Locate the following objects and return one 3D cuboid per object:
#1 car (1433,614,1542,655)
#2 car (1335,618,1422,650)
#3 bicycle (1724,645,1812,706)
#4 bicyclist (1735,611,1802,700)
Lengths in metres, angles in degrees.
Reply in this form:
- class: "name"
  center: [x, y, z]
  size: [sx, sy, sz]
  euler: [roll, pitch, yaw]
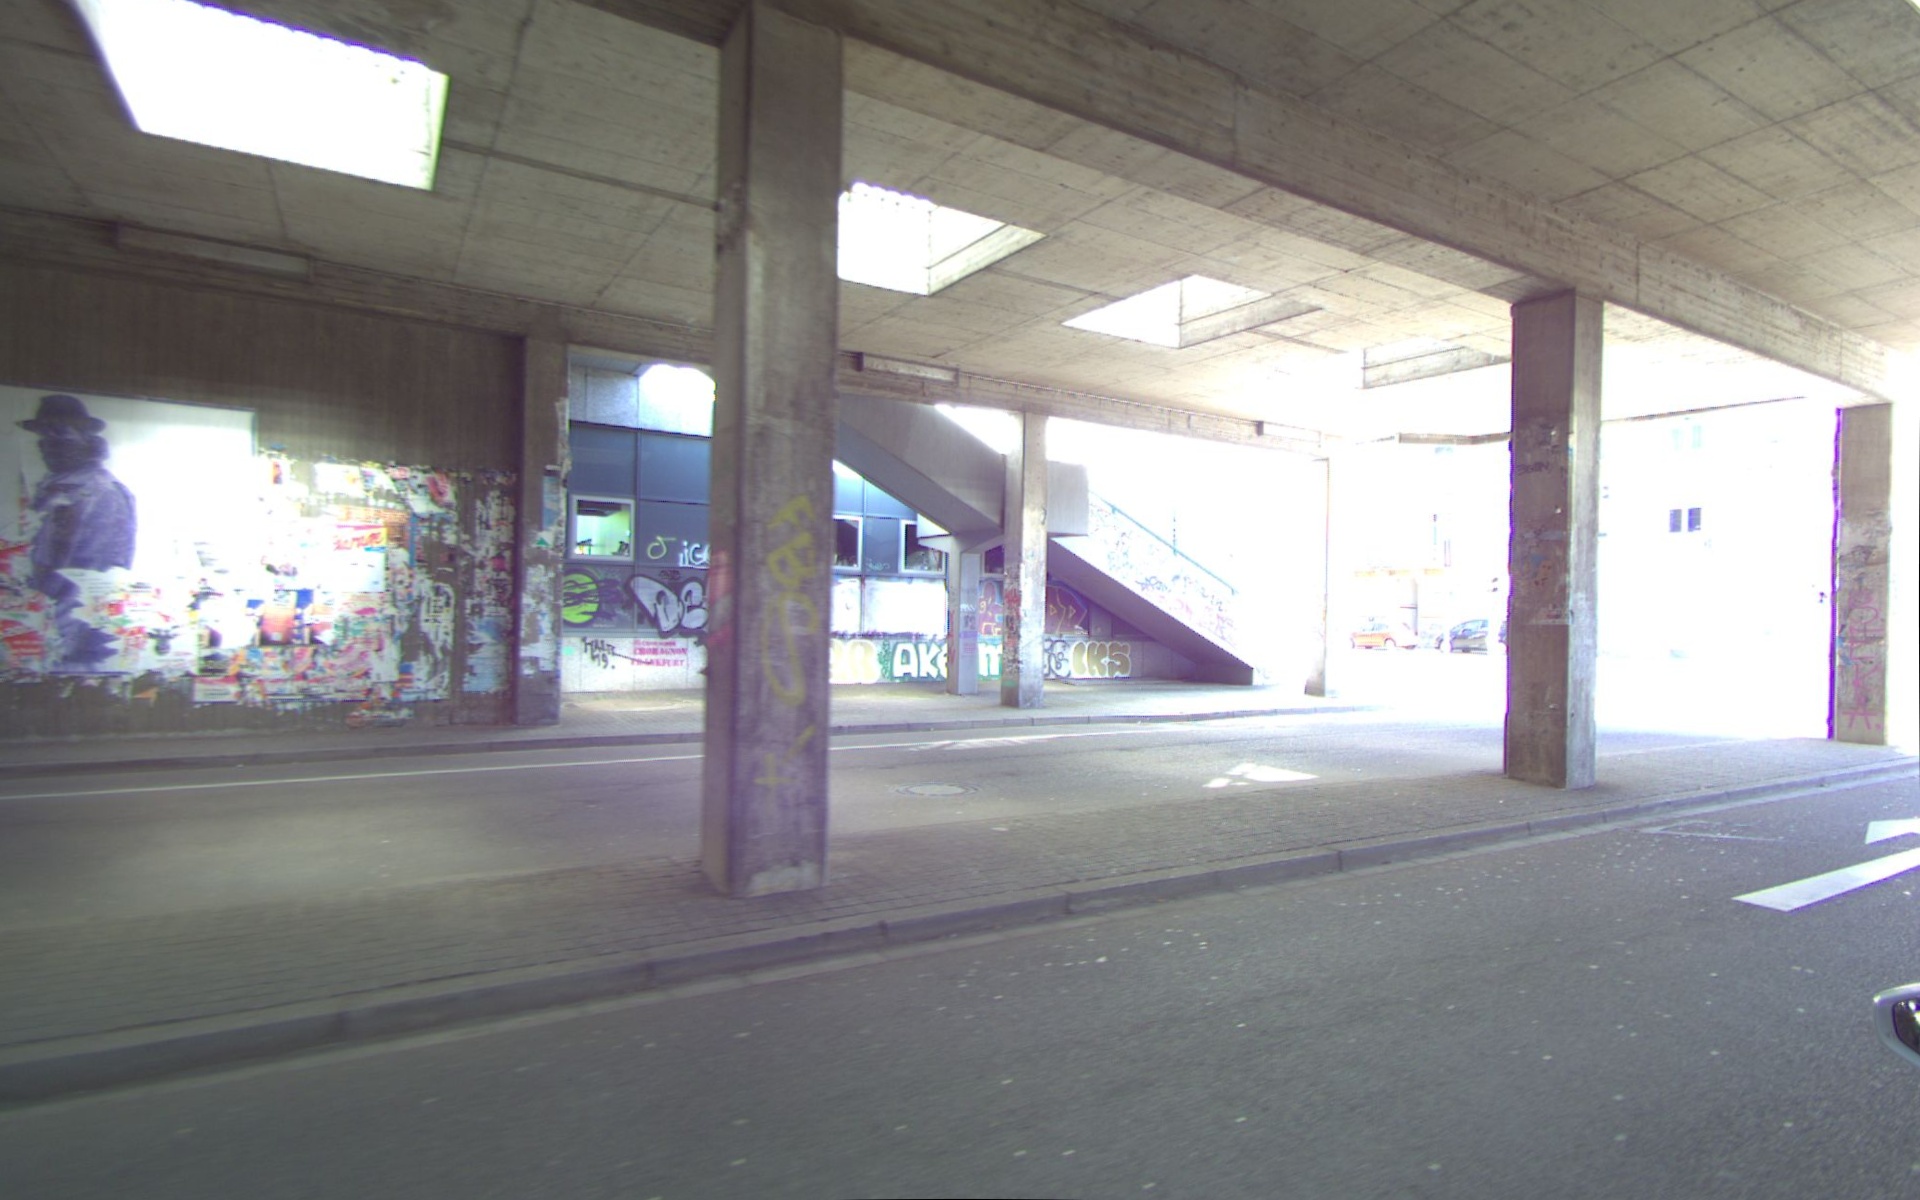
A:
- class: "car"
  center: [24.559, 1.560, 46.923]
  size: [1.939, 1.747, 4.142]
  euler: [0, 0, -29]
- class: "car"
  center: [21.588, 1.724, 51.964]
  size: [1.876, 1.561, 3.861]
  euler: [0, 0, -29]
- class: "bicycle"
  center: [16.338, 1.497, 20.295]
  size: [1.836, 1.105, 0.695]
  euler: [-1, 0, -27]
- class: "bicyclist"
  center: [16.342, 1.097, 20.314]
  size: [0.955, 1.734, 0.743]
  euler: [-1, 0, -27]
